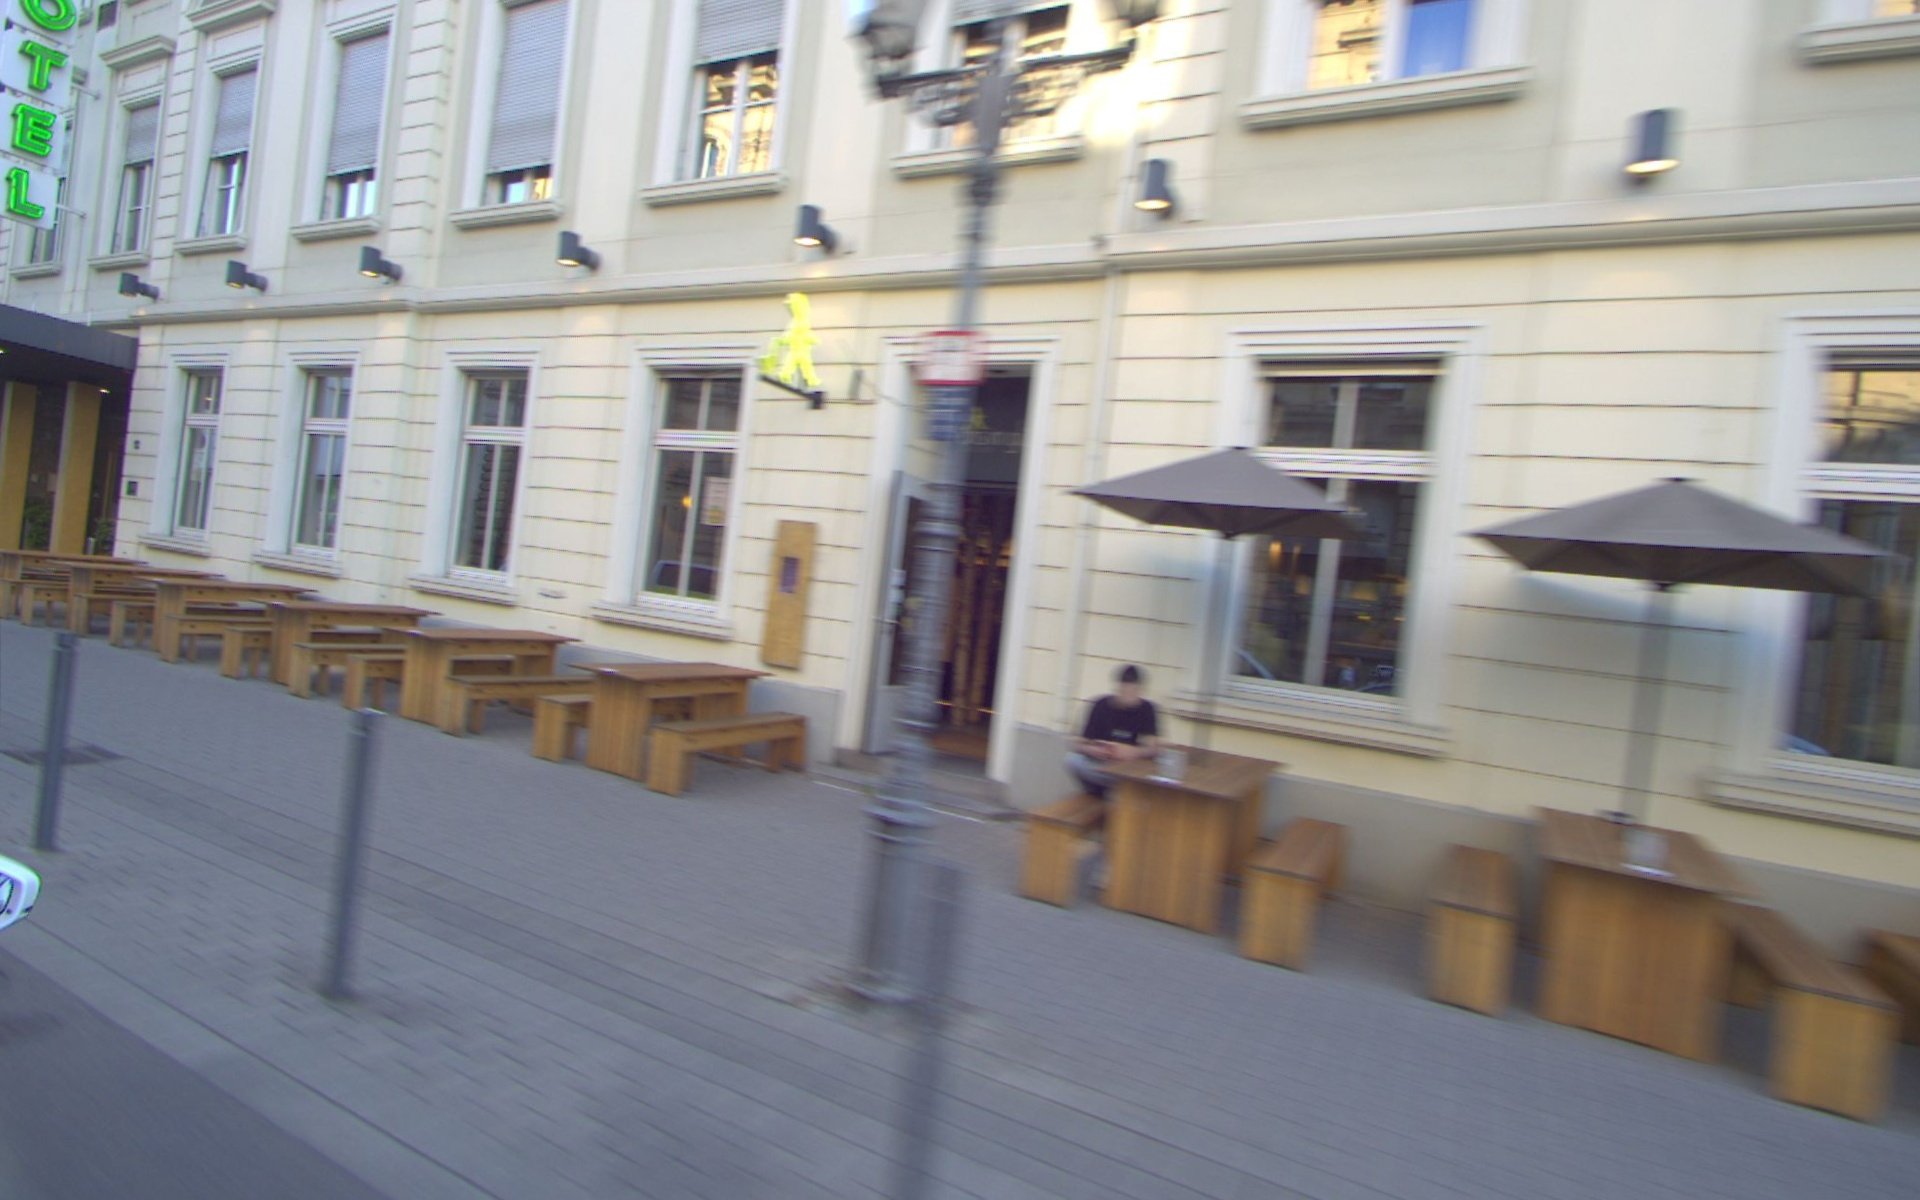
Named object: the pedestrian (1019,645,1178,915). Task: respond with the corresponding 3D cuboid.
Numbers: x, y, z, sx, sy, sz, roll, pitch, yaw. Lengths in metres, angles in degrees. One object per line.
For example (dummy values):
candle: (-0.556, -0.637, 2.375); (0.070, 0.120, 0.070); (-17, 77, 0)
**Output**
pedestrian: (0.829, 0.992, 5.889); (0.710, 1.376, 0.777); (7, 0, 12)
